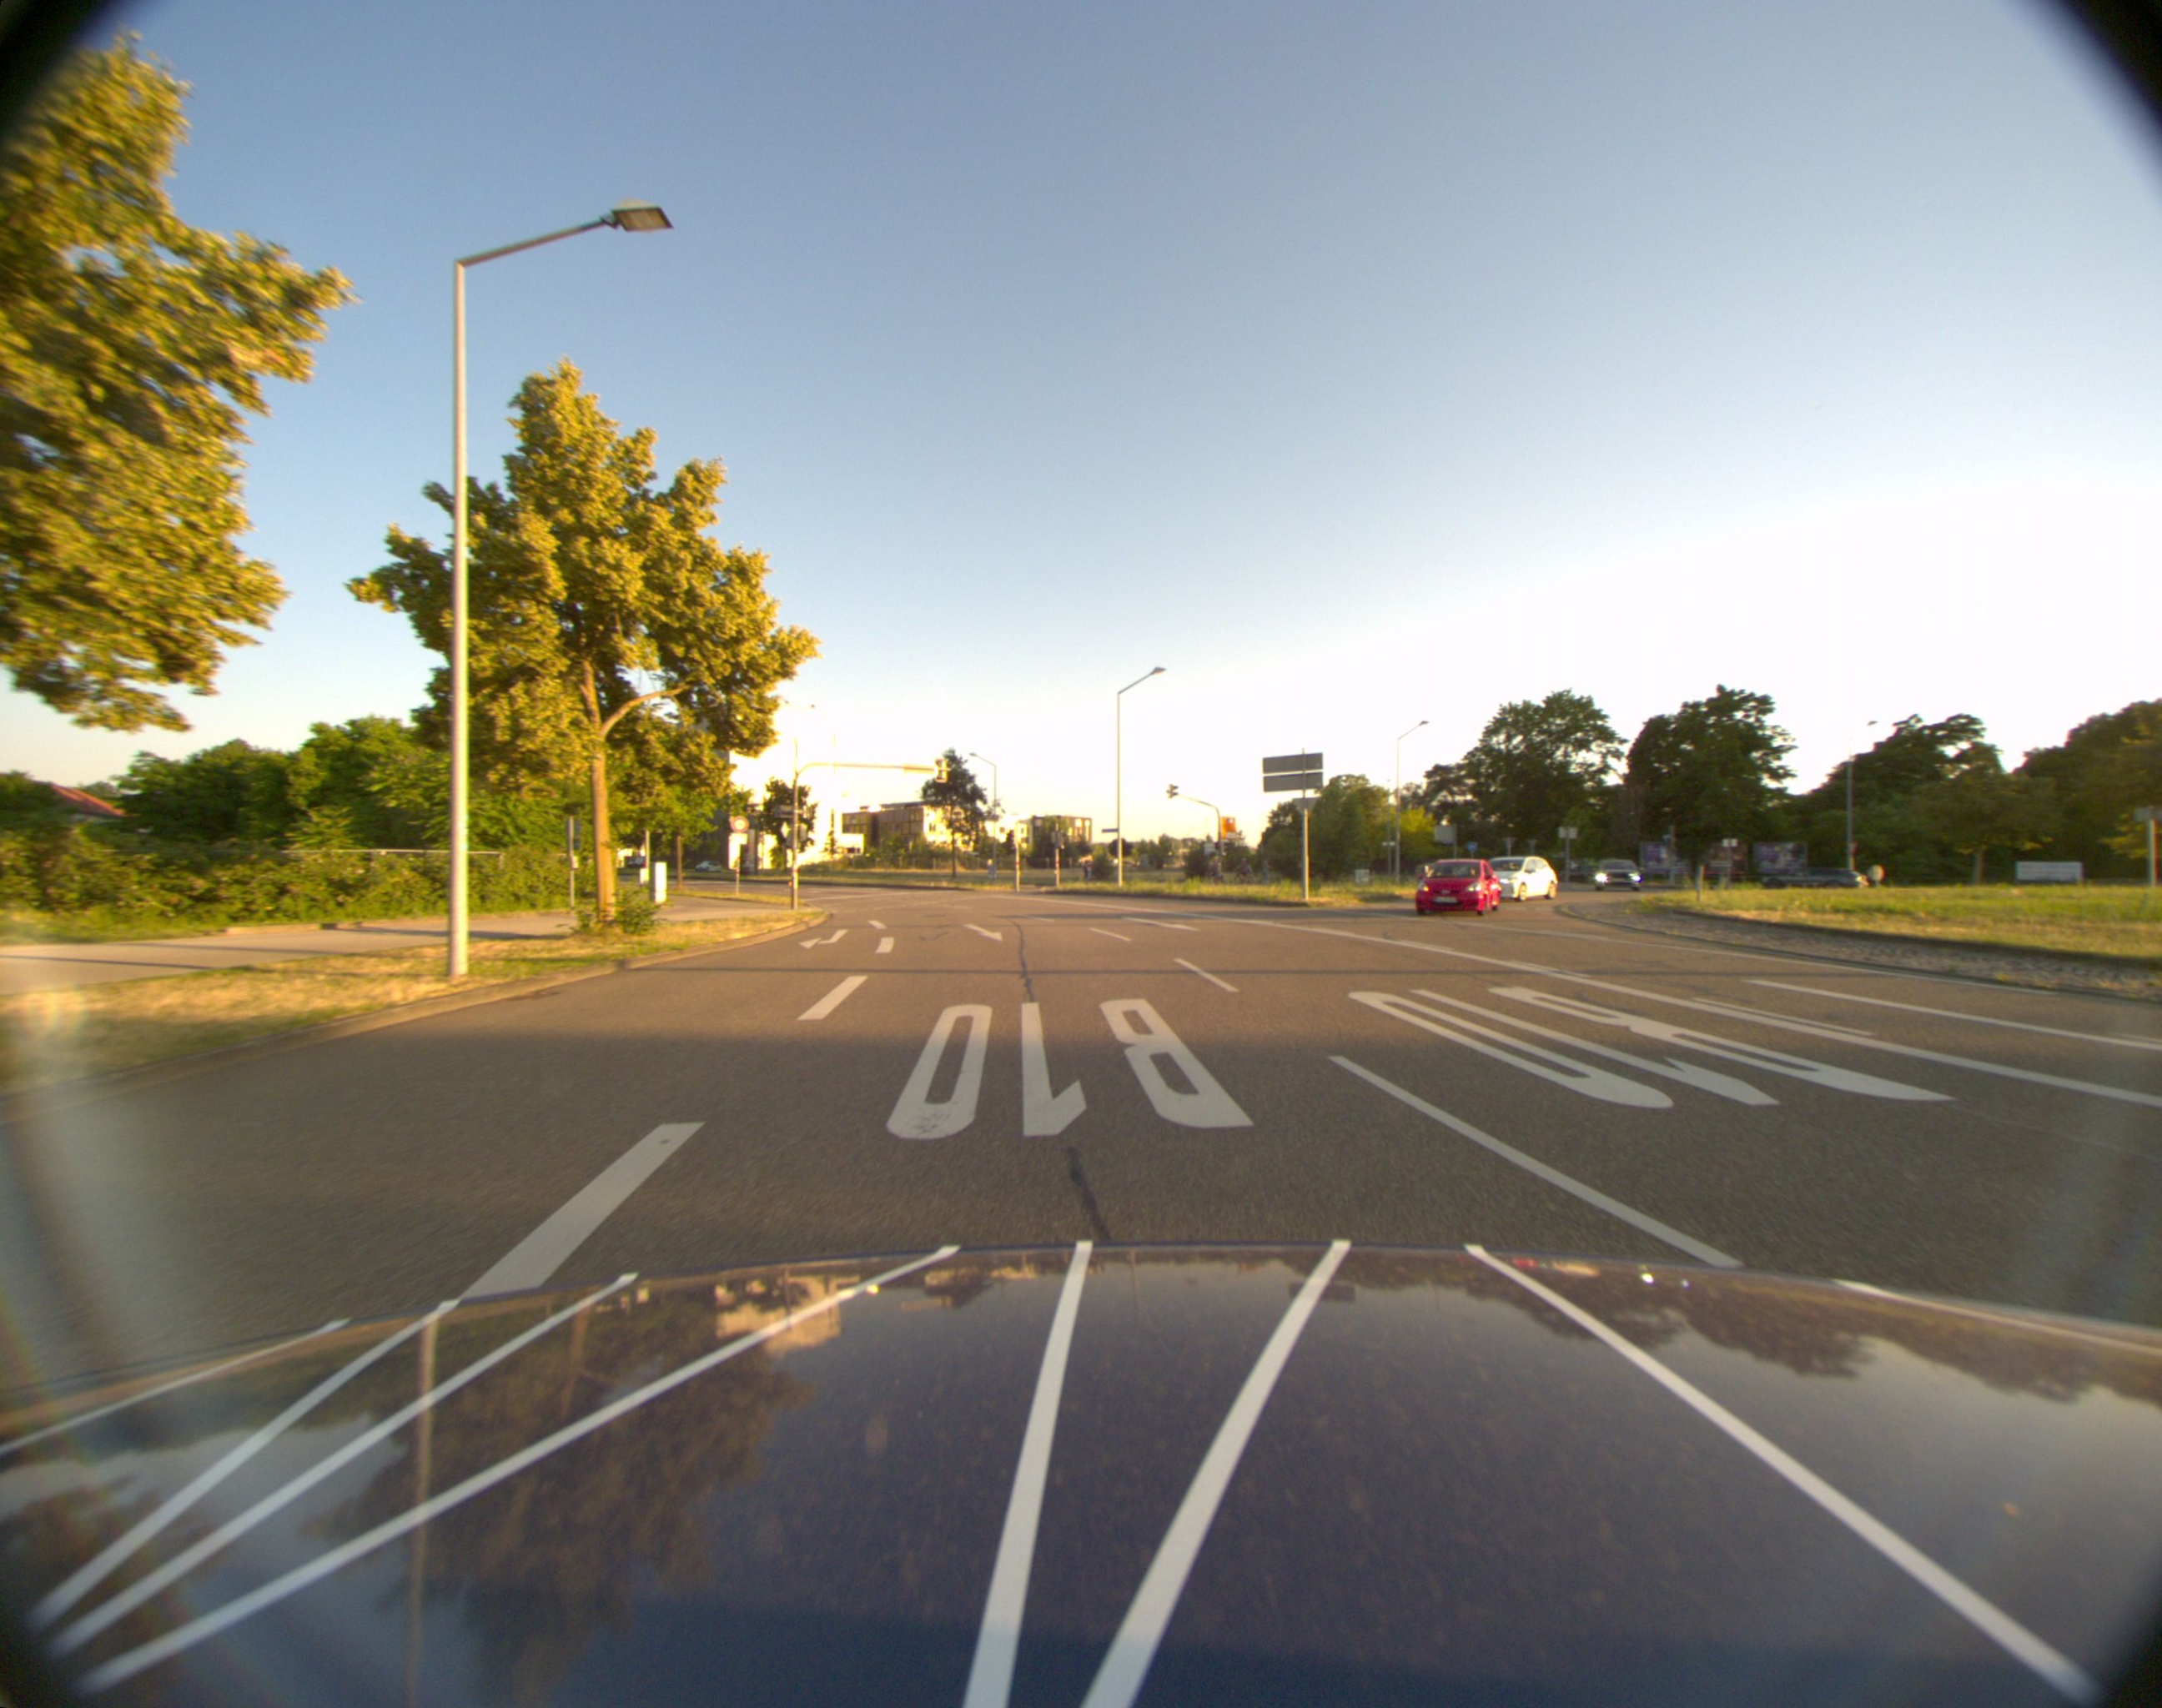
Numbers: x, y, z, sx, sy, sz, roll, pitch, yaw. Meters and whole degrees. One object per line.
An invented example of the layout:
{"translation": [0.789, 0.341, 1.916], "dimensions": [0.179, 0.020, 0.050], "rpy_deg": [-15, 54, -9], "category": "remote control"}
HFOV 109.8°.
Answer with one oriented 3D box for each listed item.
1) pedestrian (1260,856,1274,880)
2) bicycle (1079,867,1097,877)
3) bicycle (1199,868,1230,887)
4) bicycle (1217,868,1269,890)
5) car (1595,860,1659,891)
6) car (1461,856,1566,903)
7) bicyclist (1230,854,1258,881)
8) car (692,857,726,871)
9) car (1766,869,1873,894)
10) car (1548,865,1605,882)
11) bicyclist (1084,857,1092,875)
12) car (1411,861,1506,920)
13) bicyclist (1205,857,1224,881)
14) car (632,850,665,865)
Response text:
{"translation": [13.296, 1.016, 54.306], "dimensions": [0.888, 1.691, 0.722], "rpy_deg": [0, 0, 26], "category": "pedestrian"}
{"translation": [0.588, 1.439, 61.764], "dimensions": [1.414, 0.787, 0.475], "rpy_deg": [0, 0, 36], "category": "bicycle"}
{"translation": [8.953, 1.552, 50.959], "dimensions": [2.334, 1.172, 0.808], "rpy_deg": [0, 0, -42], "category": "bicycle"}
{"translation": [10.674, 1.630, 49.980], "dimensions": [3.545, 1.387, 1.121], "rpy_deg": [0, 1, -31], "category": "bicycle"}
{"translation": [28.140, 1.066, 39.114], "dimensions": [4.224, 1.549, 1.823], "rpy_deg": [0, 0, -42], "category": "car"}
{"translation": [15.368, 0.861, 26.927], "dimensions": [4.223, 1.549, 1.755], "rpy_deg": [0, 0, -38], "category": "car"}
{"translation": [10.704, 0.878, 50.000], "dimensions": [1.419, 1.739, 1.121], "rpy_deg": [0, 1, -31], "category": "bicyclist"}
{"translation": [-42.809, 1.175, 87.452], "dimensions": [4.119, 1.538, 2.004], "rpy_deg": [-1, -1, 40], "category": "car"}
{"translation": [45.771, 1.652, 47.200], "dimensions": [1.948, 1.423, 4.393], "rpy_deg": [0, -1, -30], "category": "car"}
{"translation": [41.364, 1.615, 63.537], "dimensions": [1.945, 1.423, 3.747], "rpy_deg": [0, -1, -10], "category": "car"}
{"translation": [0.598, 0.974, 61.748], "dimensions": [0.447, 1.389, 0.475], "rpy_deg": [0, 0, 36], "category": "bicyclist"}
{"translation": [10.231, 0.893, 20.437], "dimensions": [1.690, 1.413, 4.220], "rpy_deg": [0, -1, 35], "category": "car"}
{"translation": [8.937, 0.983, 50.920], "dimensions": [1.003, 1.623, 0.808], "rpy_deg": [0, 1, -42], "category": "bicyclist"}
{"translation": [-50.724, 0.441, 89.103], "dimensions": [4.119, 1.740, 2.004], "rpy_deg": [-1, -1, 40], "category": "car"}
